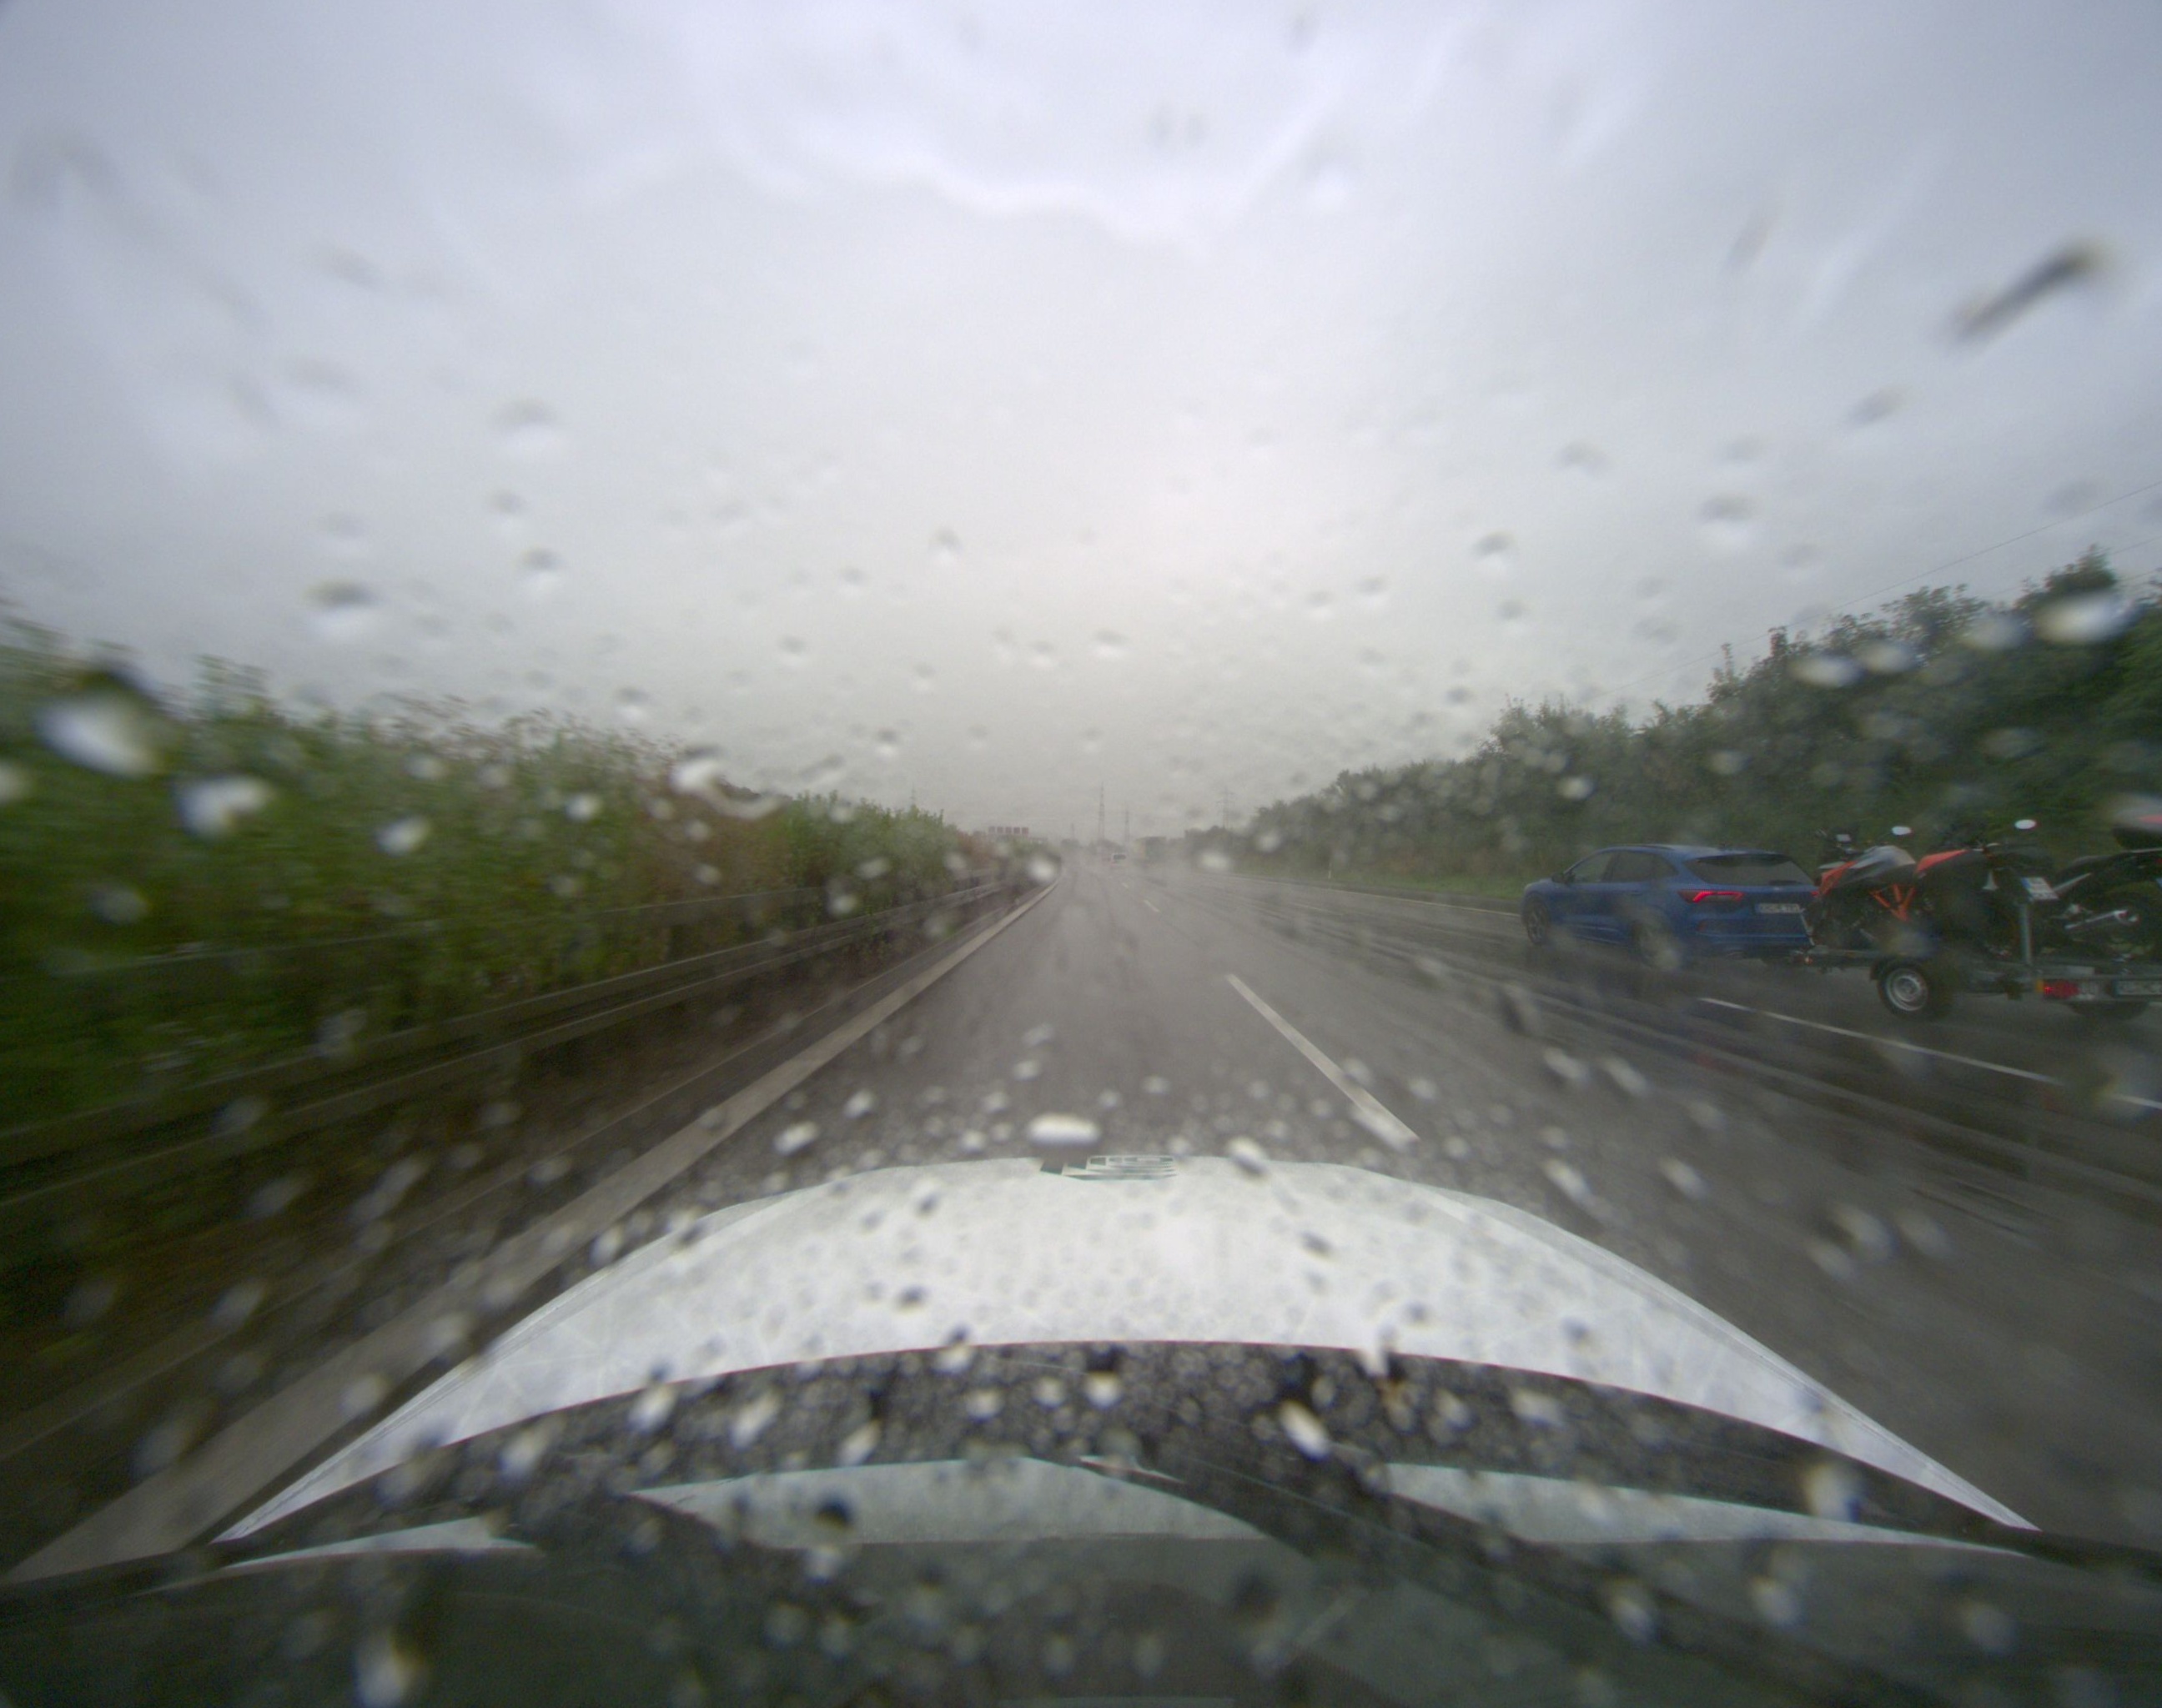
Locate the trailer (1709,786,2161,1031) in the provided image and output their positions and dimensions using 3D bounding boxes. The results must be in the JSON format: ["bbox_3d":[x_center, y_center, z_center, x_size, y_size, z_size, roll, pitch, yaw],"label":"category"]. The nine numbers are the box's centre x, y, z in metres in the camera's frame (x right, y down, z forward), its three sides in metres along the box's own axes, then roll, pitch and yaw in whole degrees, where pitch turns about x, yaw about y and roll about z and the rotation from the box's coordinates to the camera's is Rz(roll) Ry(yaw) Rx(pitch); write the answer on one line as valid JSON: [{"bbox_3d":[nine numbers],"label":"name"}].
[{"bbox_3d":[8.035,0.411,7.563,1.972,1.785,3.189,-1,-1,1],"label":"trailer"}]

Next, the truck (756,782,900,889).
[{"bbox_3d":[-16.314,-1.071,54.849,4.097,6.125,16.010,-1,0,2],"label":"truck"}]

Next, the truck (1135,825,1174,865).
[{"bbox_3d":[9.200,-0.964,103.756,4.172,4.630,16.114,-1,-1,3],"label":"truck"}]

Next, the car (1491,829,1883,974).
[{"bbox_3d":[8.125,0.566,11.734,1.986,1.619,4.993,-1,-1,1],"label":"car"}]

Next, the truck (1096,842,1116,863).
[{"bbox_3d":[5.343,-0.270,174.004,3.228,4.311,8.819,-1,0,-6],"label":"truck"}]

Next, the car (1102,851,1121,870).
[{"bbox_3d":[3.369,0.705,90.578,1.987,2.013,4.000,-1,0,0],"label":"car"}]
